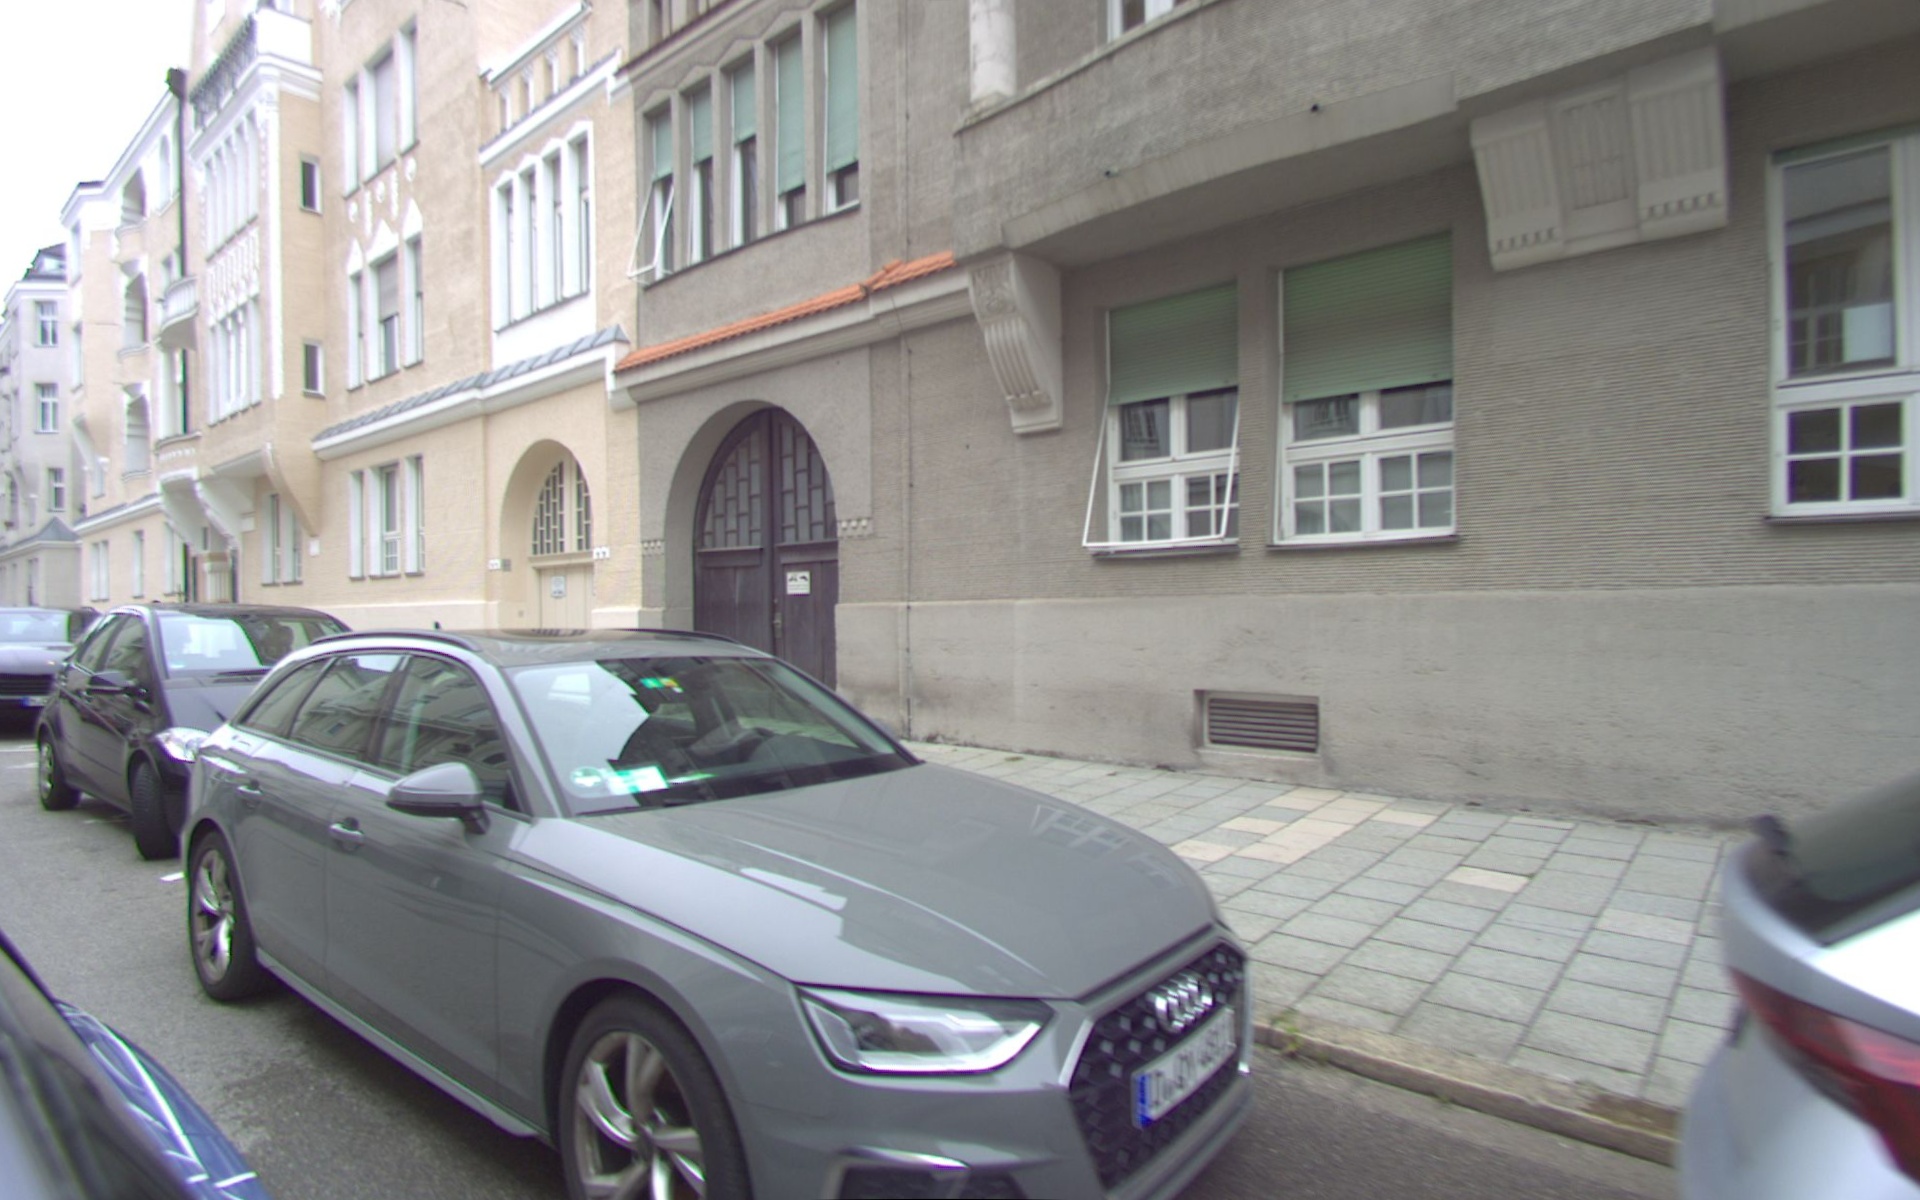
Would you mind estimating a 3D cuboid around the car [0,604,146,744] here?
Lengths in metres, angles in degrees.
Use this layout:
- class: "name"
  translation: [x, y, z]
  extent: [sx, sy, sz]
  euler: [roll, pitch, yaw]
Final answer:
- class: "car"
  translation: [-12.903, 0.924, 13.961]
  extent: [4.617, 1.671, 1.929]
  euler: [-1, -2, 43]

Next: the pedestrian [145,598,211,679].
- class: "pedestrian"
  translation: [-17.390, 0.842, 22.511]
  extent: [0.939, 1.742, 0.982]
  euler: [-1, 0, 40]

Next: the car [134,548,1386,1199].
- class: "car"
  translation: [-1.159, 0.729, 3.585]
  extent: [4.602, 1.525, 1.819]
  euler: [-1, -1, 39]

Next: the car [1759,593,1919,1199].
- class: "car"
  translation: [3.098, 0.695, 0.251]
  extent: [4.438, 1.442, 1.786]
  euler: [-1, -2, 42]

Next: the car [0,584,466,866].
- class: "car"
  translation: [-5.526, 0.721, 7.543]
  extent: [3.807, 1.584, 1.786]
  euler: [-1, 0, 37]

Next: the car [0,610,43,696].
- class: "car"
  translation: [-20.579, 1.066, 20.929]
  extent: [4.457, 1.661, 1.853]
  euler: [-1, 0, 41]

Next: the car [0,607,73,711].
- class: "car"
  translation: [-17.000, 0.986, 17.663]
  extent: [4.099, 1.655, 1.714]
  euler: [-1, 0, 41]

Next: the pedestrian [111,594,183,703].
- class: "pedestrian"
  translation: [-14.002, 0.816, 17.427]
  extent: [0.740, 1.803, 0.827]
  euler: [-1, 0, 40]
